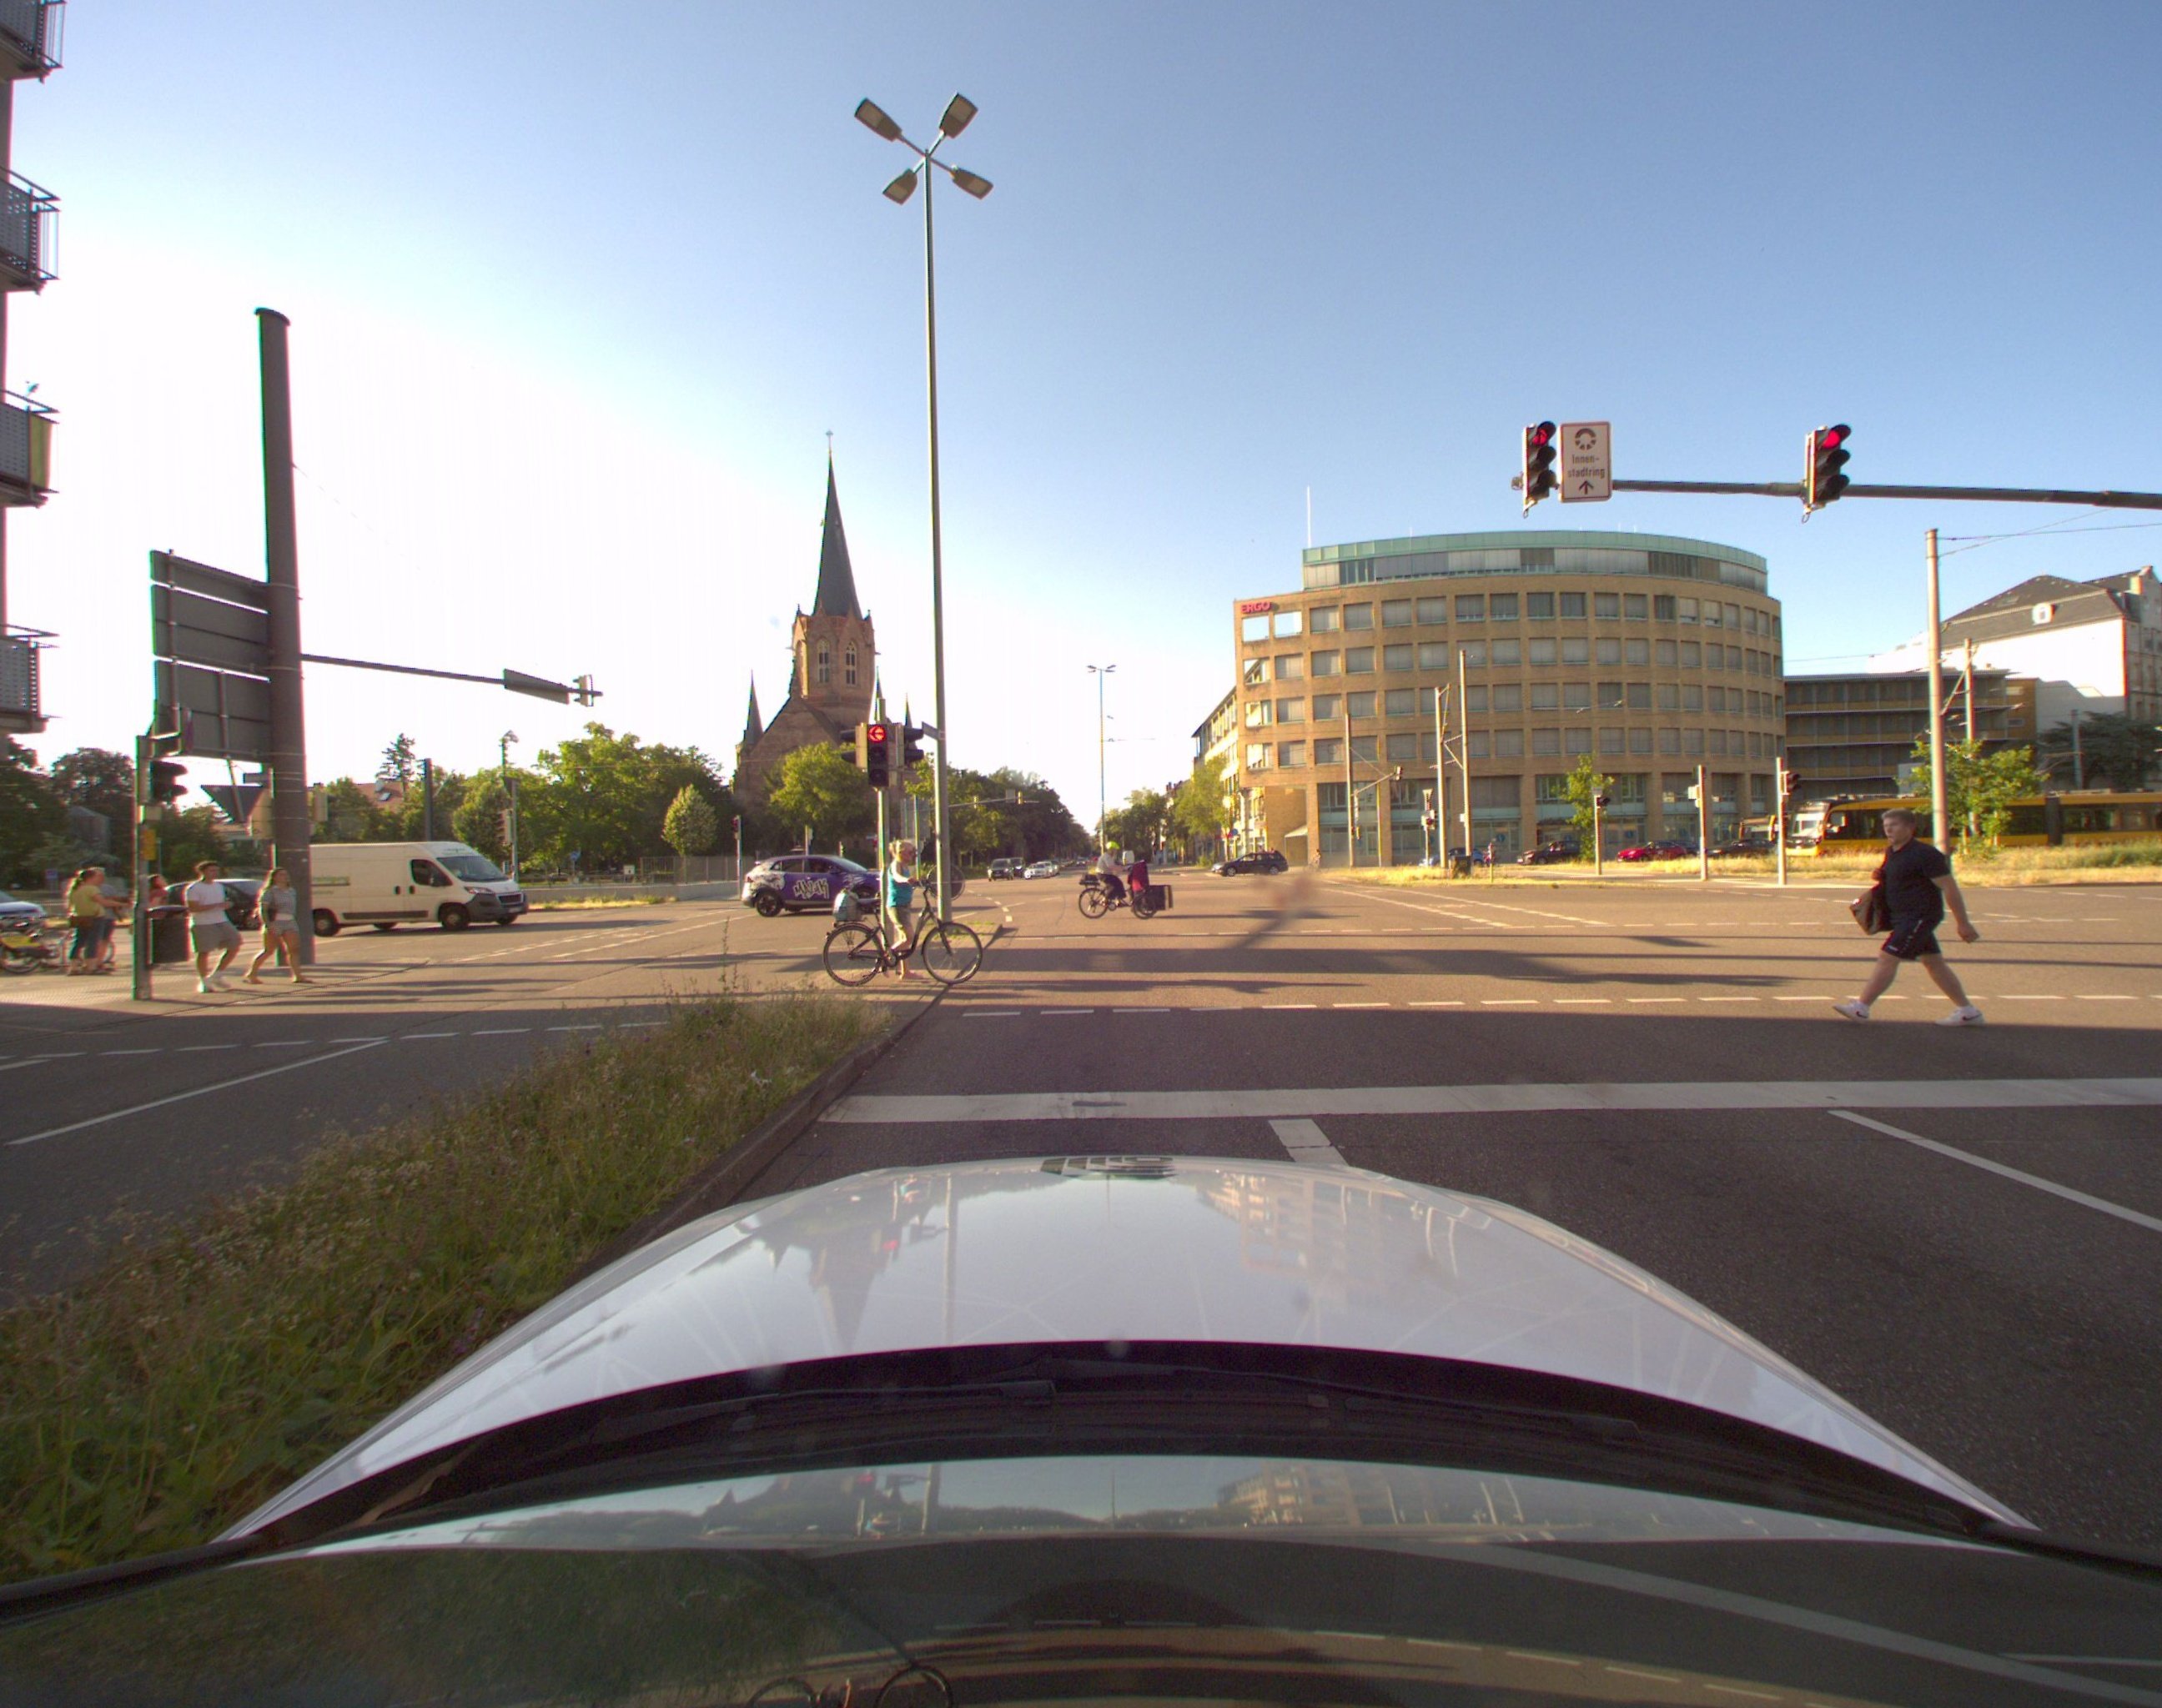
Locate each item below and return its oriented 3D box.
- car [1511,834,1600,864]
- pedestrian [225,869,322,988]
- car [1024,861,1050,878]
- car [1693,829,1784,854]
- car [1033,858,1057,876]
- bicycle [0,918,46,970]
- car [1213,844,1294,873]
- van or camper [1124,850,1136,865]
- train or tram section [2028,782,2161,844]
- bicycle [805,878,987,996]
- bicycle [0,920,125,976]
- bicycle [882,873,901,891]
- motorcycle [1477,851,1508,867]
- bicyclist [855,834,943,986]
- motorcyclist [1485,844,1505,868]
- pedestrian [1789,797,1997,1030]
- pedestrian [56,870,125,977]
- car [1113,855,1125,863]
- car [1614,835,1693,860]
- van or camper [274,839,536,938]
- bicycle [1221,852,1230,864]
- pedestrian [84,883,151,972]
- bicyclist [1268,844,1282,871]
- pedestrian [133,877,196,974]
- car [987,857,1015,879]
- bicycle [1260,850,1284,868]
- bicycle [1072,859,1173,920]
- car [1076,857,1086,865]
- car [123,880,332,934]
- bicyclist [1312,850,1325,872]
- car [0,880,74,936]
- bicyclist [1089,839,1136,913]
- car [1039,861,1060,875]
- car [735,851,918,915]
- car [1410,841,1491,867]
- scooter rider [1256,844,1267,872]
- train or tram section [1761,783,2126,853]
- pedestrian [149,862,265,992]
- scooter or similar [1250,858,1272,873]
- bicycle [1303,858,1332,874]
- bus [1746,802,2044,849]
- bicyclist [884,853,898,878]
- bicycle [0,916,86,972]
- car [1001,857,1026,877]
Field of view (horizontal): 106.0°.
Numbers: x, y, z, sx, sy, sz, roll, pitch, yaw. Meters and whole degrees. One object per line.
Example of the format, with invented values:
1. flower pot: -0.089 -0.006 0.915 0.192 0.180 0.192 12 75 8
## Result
1. car: 28.534 -0.284 49.070 4.212 1.614 2.001 -2 0 2
2. pedestrian: -12.073 1.092 12.193 0.749 1.709 0.676 -2 0 9
3. car: -3.608 1.284 66.873 1.773 1.236 4.001 -2 0 1
4. car: 39.992 -0.763 49.602 3.976 1.346 1.999 -2 0 -2
5. car: -3.213 1.152 73.446 1.773 1.464 4.001 -2 0 1
6. bicycle: -20.327 1.701 14.929 0.494 0.907 1.703 -2 0 0
7. car: 10.791 0.267 51.114 4.635 1.598 1.999 -2 0 -2
8. van or camper: 8.795 0.642 146.503 1.986 2.640 5.353 -2 0 2
9. train or tram section: 64.990 -2.530 47.498 19.910 3.177 3.684 -2 0 -12
10. bicycle: -2.033 0.900 9.121 1.822 1.188 0.734 -2 0 -1
11. bicycle: -18.921 1.713 15.035 0.494 0.840 1.703 -2 0 0
12. bicycle: -12.734 1.879 54.650 0.650 1.139 1.662 -2 0 -35
13. motorcycle: 27.661 0.337 54.714 1.811 0.953 0.524 -2 0 0
14. bicyclist: -2.104 0.622 9.513 0.780 1.660 0.900 -2 0 -1
15. motorcyclist: 27.695 0.111 54.492 0.844 1.585 0.802 -2 0 2
16. pedestrian: 6.527 0.462 6.594 0.940 1.768 0.670 -2 0 5
17. pedestrian: -16.833 1.165 13.847 0.550 1.769 0.470 -2 0 2
18. car: 7.912 1.015 171.745 1.990 1.592 3.994 -2 0 -4
19. car: 34.599 -0.376 49.281 3.595 1.342 1.722 -2 0 1
20. van or camper: -18.516 0.909 22.504 5.401 2.416 2.166 -2 0 1
21. bicycle: 14.984 0.371 84.415 0.769 1.195 2.471 -2 0 9
22. pedestrian: -17.191 1.297 14.544 0.466 1.530 0.576 -2 0 0
23. bicyclist: 13.016 0.227 54.680 0.786 1.736 0.476 -2 0 7
24. pedestrian: -16.160 1.245 14.361 0.464 1.642 0.579 -2 0 21
25. car: -6.625 1.132 67.440 1.773 1.647 4.001 -2 0 1
26. bicycle: 12.770 0.337 54.507 1.511 1.172 0.476 -2 0 7
27. bicycle: 0.849 0.731 17.248 2.037 1.168 1.161 -2 0 -1
28. car: 0.084 1.407 158.014 1.773 1.449 4.001 -2 0 1
29. car: -26.968 1.648 25.861 4.470 1.409 1.960 -2 0 -1
30. bicyclist: 16.015 0.452 54.952 0.663 1.469 0.534 -2 0 5
31. car: -35.145 1.748 25.550 4.439 1.672 2.121 -2 0 0
32. bicyclist: 0.652 0.455 17.236 0.877 1.487 1.161 -2 0 -1
33. car: -3.120 1.374 80.709 1.773 1.236 4.001 -2 0 1
34. car: -6.937 0.768 22.486 4.386 1.573 1.837 -2 0 2
35. car: 23.606 0.009 52.112 4.218 1.502 1.998 -2 0 -3
36. scooter rider: 12.237 0.274 55.176 0.676 1.814 0.476 -2 0 7
37. train or tram section: 47.213 -1.908 44.857 17.064 3.177 3.696 -2 0 -3
38. pedestrian: -12.289 1.008 11.466 0.917 1.758 0.676 -2 0 9
39. scooter or similar: 12.196 0.774 55.180 1.393 1.001 0.476 -2 0 7
40. bicycle: 15.965 0.806 54.958 1.812 0.984 0.534 -2 0 4
41. bus: 53.010 -1.843 53.122 18.131 2.436 2.419 -2 0 -4
42. bicyclist: -12.762 0.774 54.638 0.644 1.694 0.773 -2 0 -35
43. bicycle: -19.704 1.684 15.063 0.494 0.907 1.703 -2 0 0
44. car: -6.176 1.209 74.837 1.773 1.704 4.001 -2 0 1
